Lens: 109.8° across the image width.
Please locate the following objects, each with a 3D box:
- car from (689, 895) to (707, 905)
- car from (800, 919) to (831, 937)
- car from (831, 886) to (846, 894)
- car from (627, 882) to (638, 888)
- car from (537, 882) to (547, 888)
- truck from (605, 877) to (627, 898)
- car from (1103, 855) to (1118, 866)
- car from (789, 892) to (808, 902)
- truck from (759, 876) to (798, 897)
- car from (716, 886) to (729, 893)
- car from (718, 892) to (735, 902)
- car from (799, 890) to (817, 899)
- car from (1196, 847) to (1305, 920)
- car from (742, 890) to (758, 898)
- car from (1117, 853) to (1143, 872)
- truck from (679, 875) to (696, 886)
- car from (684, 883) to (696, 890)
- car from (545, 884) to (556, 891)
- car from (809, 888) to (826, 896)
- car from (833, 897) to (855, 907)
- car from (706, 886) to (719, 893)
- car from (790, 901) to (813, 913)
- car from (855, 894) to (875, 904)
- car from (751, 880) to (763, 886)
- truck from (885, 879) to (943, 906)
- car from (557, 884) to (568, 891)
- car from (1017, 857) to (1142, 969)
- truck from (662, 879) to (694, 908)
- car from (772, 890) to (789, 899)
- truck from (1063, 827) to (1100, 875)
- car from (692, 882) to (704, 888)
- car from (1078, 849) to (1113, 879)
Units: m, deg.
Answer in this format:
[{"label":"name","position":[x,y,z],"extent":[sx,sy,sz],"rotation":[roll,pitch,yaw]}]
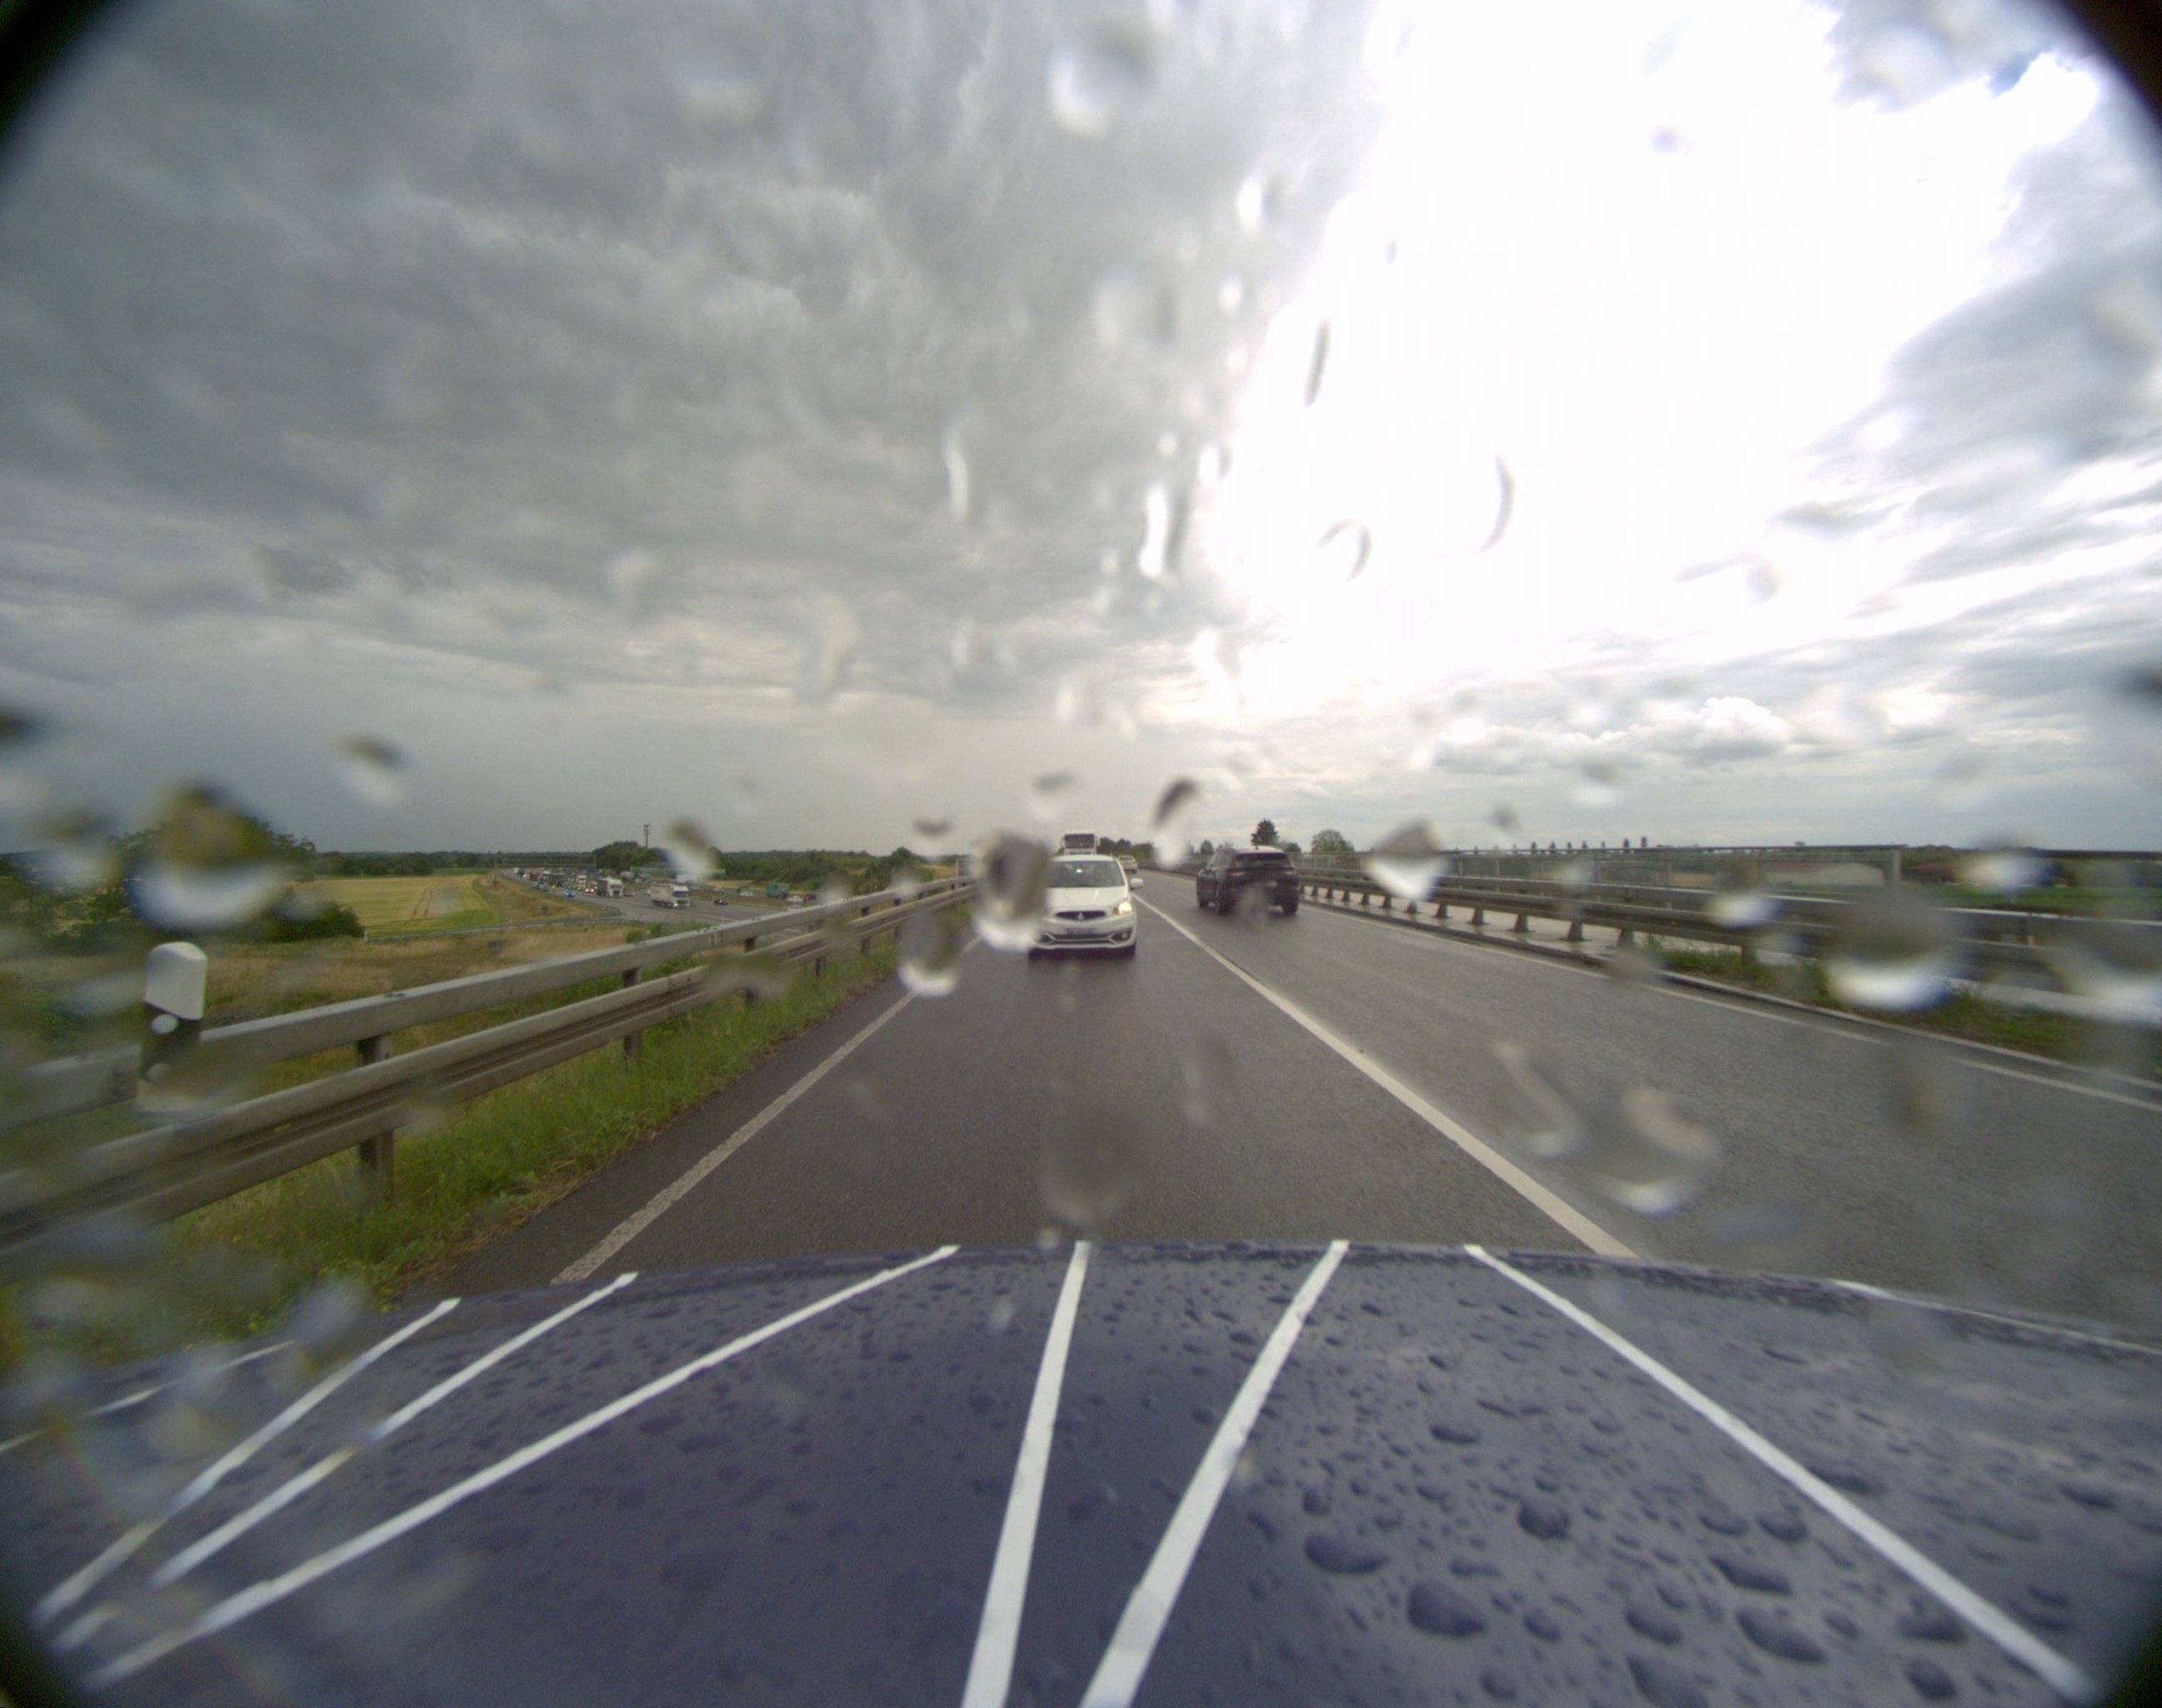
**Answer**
[{"label":"car","position":[-72.456,8.697,143.677],"extent":[1.860,1.659,4.711],"rotation":[-2,0,-41]},{"label":"car","position":[-31.566,8.748,90.264],"extent":[1.860,1.659,4.711],"rotation":[-2,0,-41]},{"label":"car","position":[-60.985,9.049,190.856],"extent":[1.860,1.659,4.711],"rotation":[-2,0,-41]},{"label":"car","position":[-128.937,8.818,218.321],"extent":[1.860,1.659,4.711],"rotation":[-2,0,-41]},{"label":"car","position":[-150.912,8.639,212.674],"extent":[1.860,1.659,4.711],"rotation":[-2,0,-41]},{"label":"truck","position":[-107.719,7.598,175.888],"extent":[2.799,4.590,12.723],"rotation":[-2,0,-38]},{"label":"car","position":[3.922,0.885,101.206],"extent":[1.701,1.424,4.323],"rotation":[-2,0,-1]},{"label":"car","position":[-55.809,8.469,149.901],"extent":[1.860,1.659,4.711],"rotation":[-2,0,-43]},{"label":"truck","position":[-72.117,7.703,180.799],"extent":[3.611,4.511,15.588],"rotation":[-2,0,-40]},{"label":"car","position":[-94.333,9.223,199.709],"extent":[1.860,1.659,4.711],"rotation":[-2,0,-41]},{"label":"car","position":[-71.111,8.618,152.358],"extent":[1.860,1.659,4.711],"rotation":[-2,0,-41]},{"label":"car","position":[-57.880,8.574,160.828],"extent":[1.860,1.659,4.711],"rotation":[-2,0,-43]},{"label":"car","position":[4.049,0.655,18.853],"extent":[1.784,1.552,4.302],"rotation":[-2,0,1]},{"label":"car","position":[-74.482,8.904,170.992],"extent":[1.860,1.659,4.711],"rotation":[-2,0,-43]},{"label":"car","position":[3.977,0.675,62.755],"extent":[1.815,1.501,4.611],"rotation":[-2,0,0]},{"label":"truck","position":[-120.997,8.122,233.578],"extent":[2.216,2.948,9.283],"rotation":[-2,0,-41]},{"label":"car","position":[-108.026,9.014,209.709],"extent":[1.860,1.659,4.711],"rotation":[-2,0,-41]},{"label":"car","position":[-141.801,8.841,202.986],"extent":[1.860,1.659,4.711],"rotation":[-2,0,-41]},{"label":"car","position":[-60.726,8.832,175.091],"extent":[1.860,1.659,4.711],"rotation":[-2,0,-43]},{"label":"car","position":[-42.601,8.590,136.238],"extent":[1.860,1.659,4.711],"rotation":[-2,0,-43]},{"label":"car","position":[-92.319,8.893,190.293],"extent":[1.860,1.659,4.711],"rotation":[-2,0,-41]},{"label":"car","position":[-45.065,8.593,122.622],"extent":[2.003,1.614,3.990],"rotation":[-8,4,-41]},{"label":"car","position":[-41.825,8.692,147.161],"extent":[1.860,1.659,4.711],"rotation":[-2,0,-43]},{"label":"car","position":[-98.606,8.727,231.420],"extent":[1.860,1.659,4.711],"rotation":[-2,0,-41]},{"label":"truck","position":[-31.382,7.095,141.899],"extent":[3.611,4.511,14.065],"rotation":[-2,0,-43]},{"label":"car","position":[-138.475,8.852,203.007],"extent":[1.860,1.659,4.711],"rotation":[-1,0,-41]},{"label":"car","position":[-0.038,0.832,12.573],"extent":[1.675,1.476,4.129],"rotation":[-2,0,0]},{"label":"truck","position":[-72.685,7.003,136.794],"extent":[2.799,4.871,12.723],"rotation":[-2,0,-38]},{"label":"car","position":[-66.400,8.930,168.099],"extent":[1.860,1.659,4.711],"rotation":[-2,0,-43]},{"label":"truck","position":[-0.056,-0.345,61.157],"extent":[2.631,3.537,8.474],"rotation":[-2,2,-1]},{"label":"car","position":[-109.397,8.844,216.995],"extent":[1.860,1.659,4.711],"rotation":[-2,0,-41]},{"label":"car","position":[0.688,0.475,38.779],"extent":[1.675,1.366,4.129],"rotation":[-2,0,0]}]
